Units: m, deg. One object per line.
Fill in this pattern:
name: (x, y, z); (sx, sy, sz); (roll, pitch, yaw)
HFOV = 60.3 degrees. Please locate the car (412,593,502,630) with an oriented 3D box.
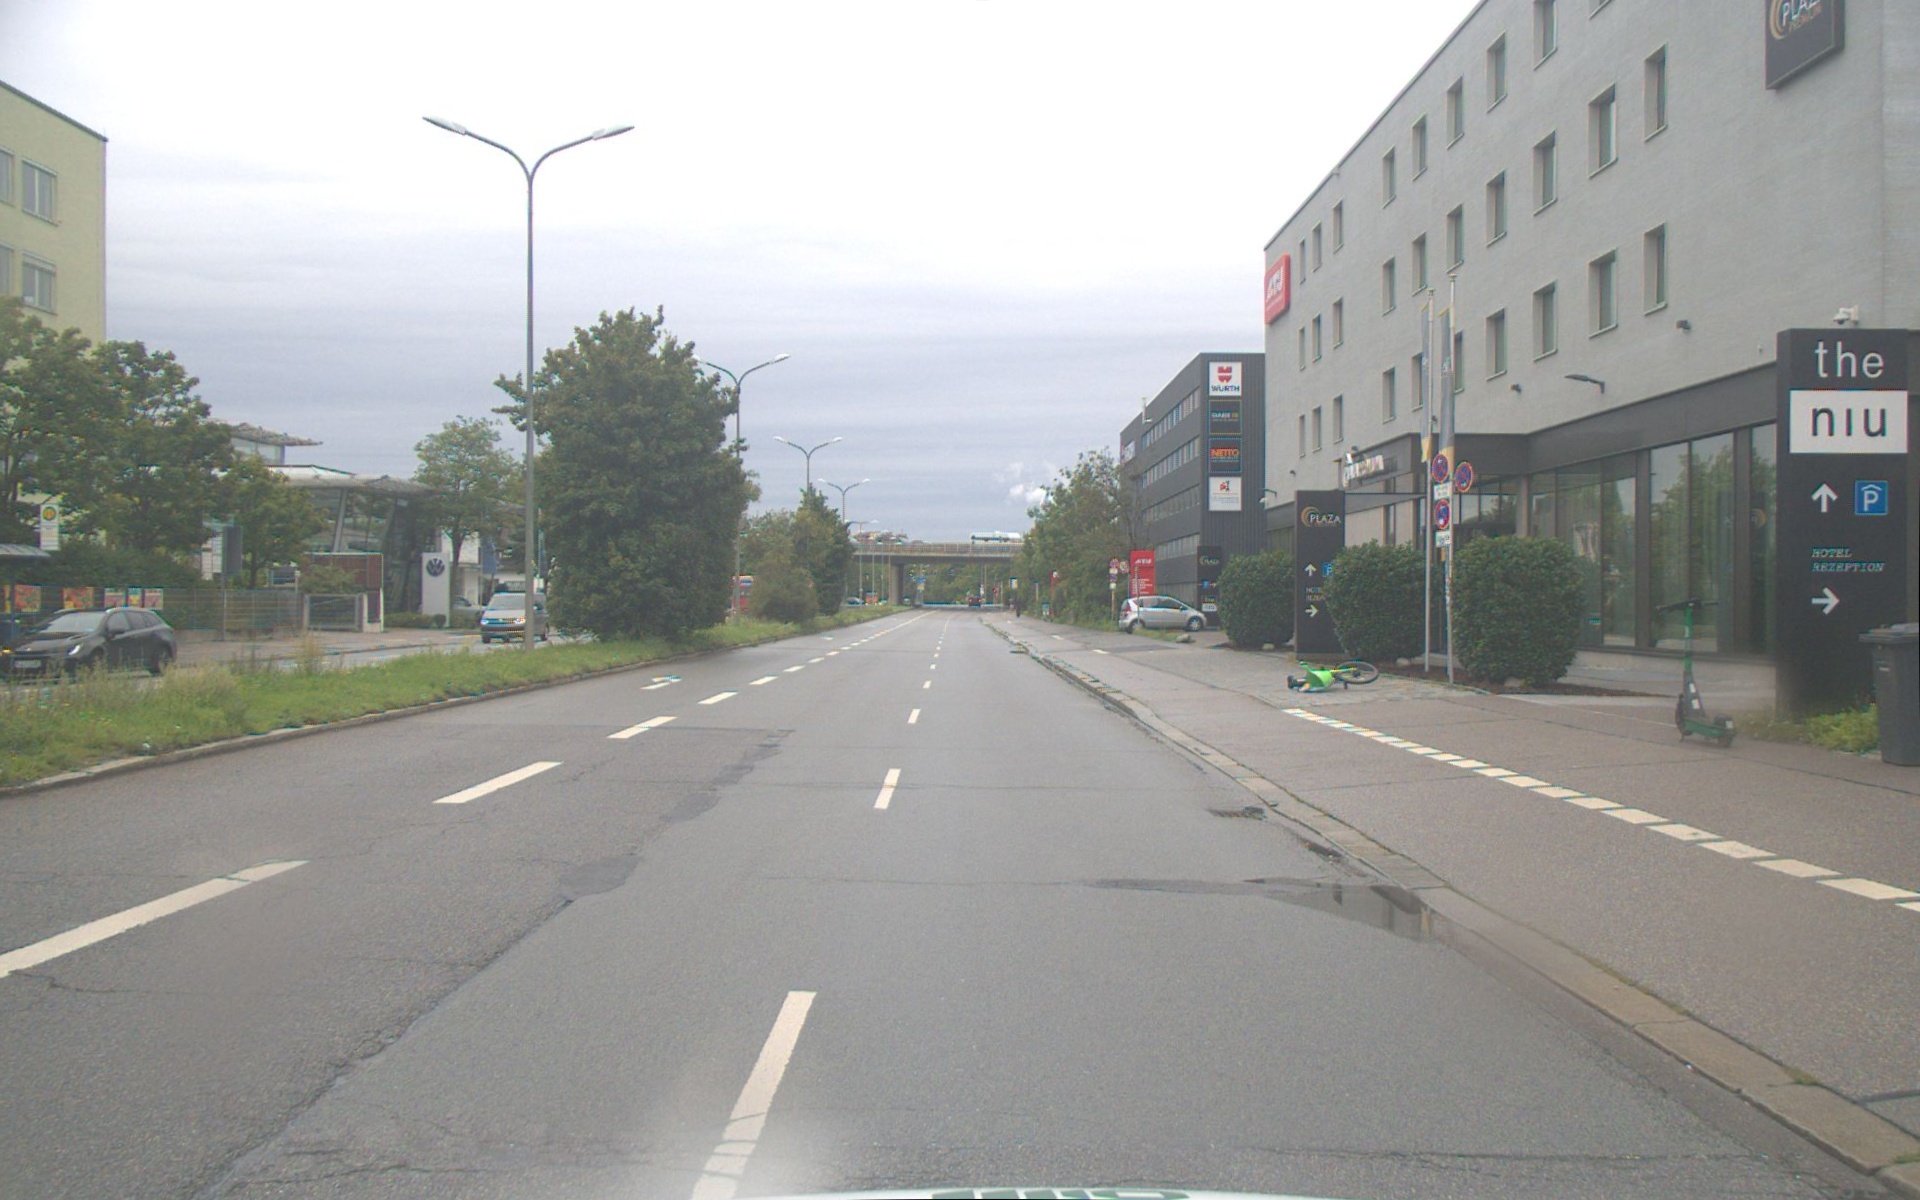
car: (-27.656, 0.611, 91.015); (4.570, 1.874, 1.788); (-1, 0, -24)

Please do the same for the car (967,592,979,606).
car: (1.979, -0.097, 249.432); (1.775, 2.049, 3.834); (1, 0, 1)

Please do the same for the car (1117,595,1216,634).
car: (8.929, 0.615, 71.680); (3.936, 1.585, 1.818); (1, 0, -7)

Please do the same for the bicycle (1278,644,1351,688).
bicycle: (5.438, 1.006, 25.445); (0.705, 0.558, 1.732); (-4, 0, -1)

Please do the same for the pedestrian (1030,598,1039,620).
pedestrian: (6.576, 0.788, 146.388); (0.675, 1.909, 0.662); (-1, 0, -1)

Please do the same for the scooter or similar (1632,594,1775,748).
scooter or similar: (6.770, 0.616, 15.126); (0.574, 1.299, 1.404); (-5, 0, 0)

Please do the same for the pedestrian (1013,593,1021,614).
pedestrian: (5.323, 0.334, 155.438); (0.675, 1.909, 0.662); (-1, 0, -1)

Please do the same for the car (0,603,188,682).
car: (-17.489, 0.803, 33.108); (1.953, 1.426, 4.653); (-1, 0, -1)

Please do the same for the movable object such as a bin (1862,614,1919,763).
movable object such as a bin: (7.496, 0.665, 12.739); (0.722, 1.097, 0.655); (-1, 0, 0)

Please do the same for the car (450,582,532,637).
car: (-17.959, 0.354, 63.533); (1.953, 1.995, 4.323); (-1, 0, -1)
